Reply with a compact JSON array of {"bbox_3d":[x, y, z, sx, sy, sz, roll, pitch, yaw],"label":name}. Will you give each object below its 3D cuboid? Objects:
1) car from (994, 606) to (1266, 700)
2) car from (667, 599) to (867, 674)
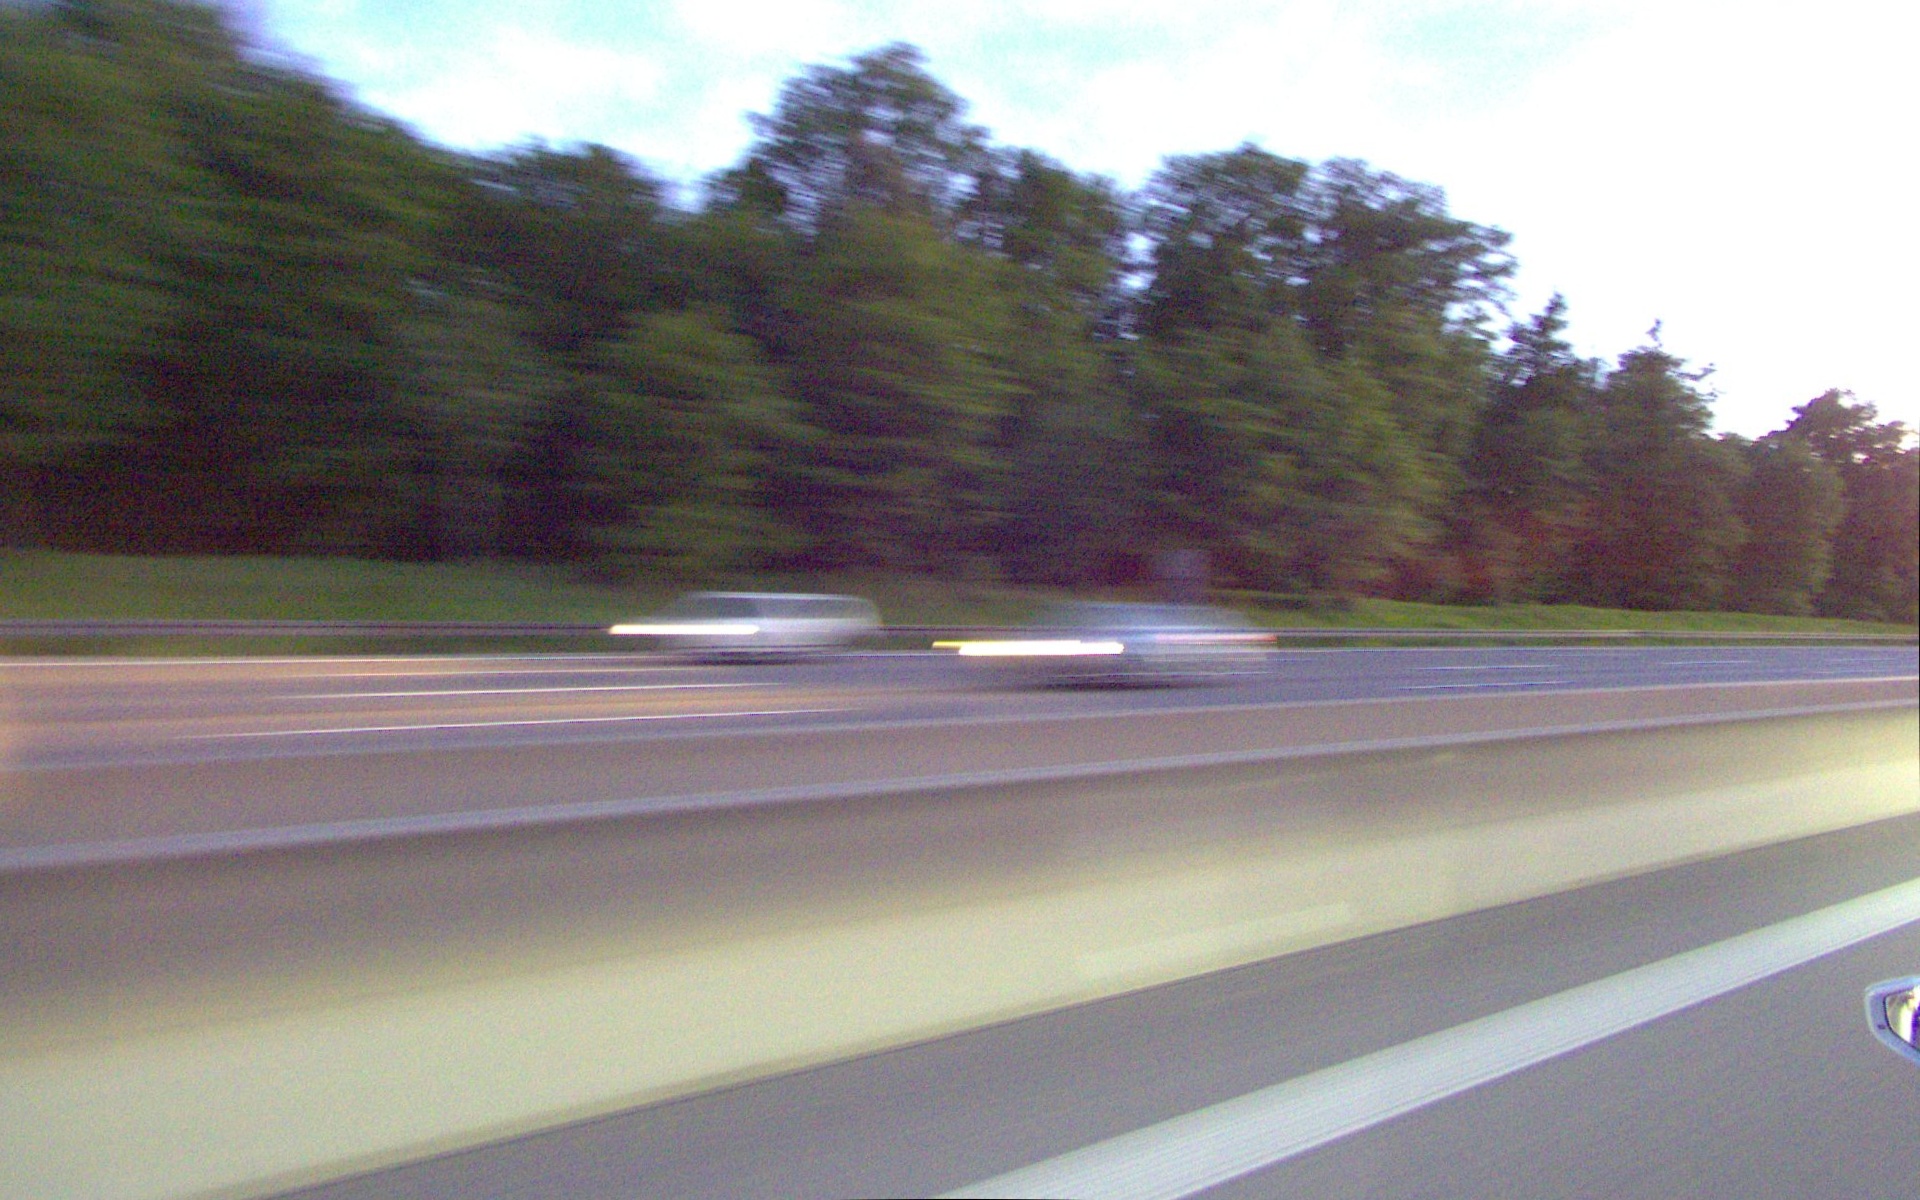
[{"bbox_3d":[3.113,0.886,18.162,4.716,1.483,1.835,1,1,-28],"label":"car"},{"bbox_3d":[-4.211,0.764,22.028,3.952,1.483,1.834,1,1,-29],"label":"car"}]
